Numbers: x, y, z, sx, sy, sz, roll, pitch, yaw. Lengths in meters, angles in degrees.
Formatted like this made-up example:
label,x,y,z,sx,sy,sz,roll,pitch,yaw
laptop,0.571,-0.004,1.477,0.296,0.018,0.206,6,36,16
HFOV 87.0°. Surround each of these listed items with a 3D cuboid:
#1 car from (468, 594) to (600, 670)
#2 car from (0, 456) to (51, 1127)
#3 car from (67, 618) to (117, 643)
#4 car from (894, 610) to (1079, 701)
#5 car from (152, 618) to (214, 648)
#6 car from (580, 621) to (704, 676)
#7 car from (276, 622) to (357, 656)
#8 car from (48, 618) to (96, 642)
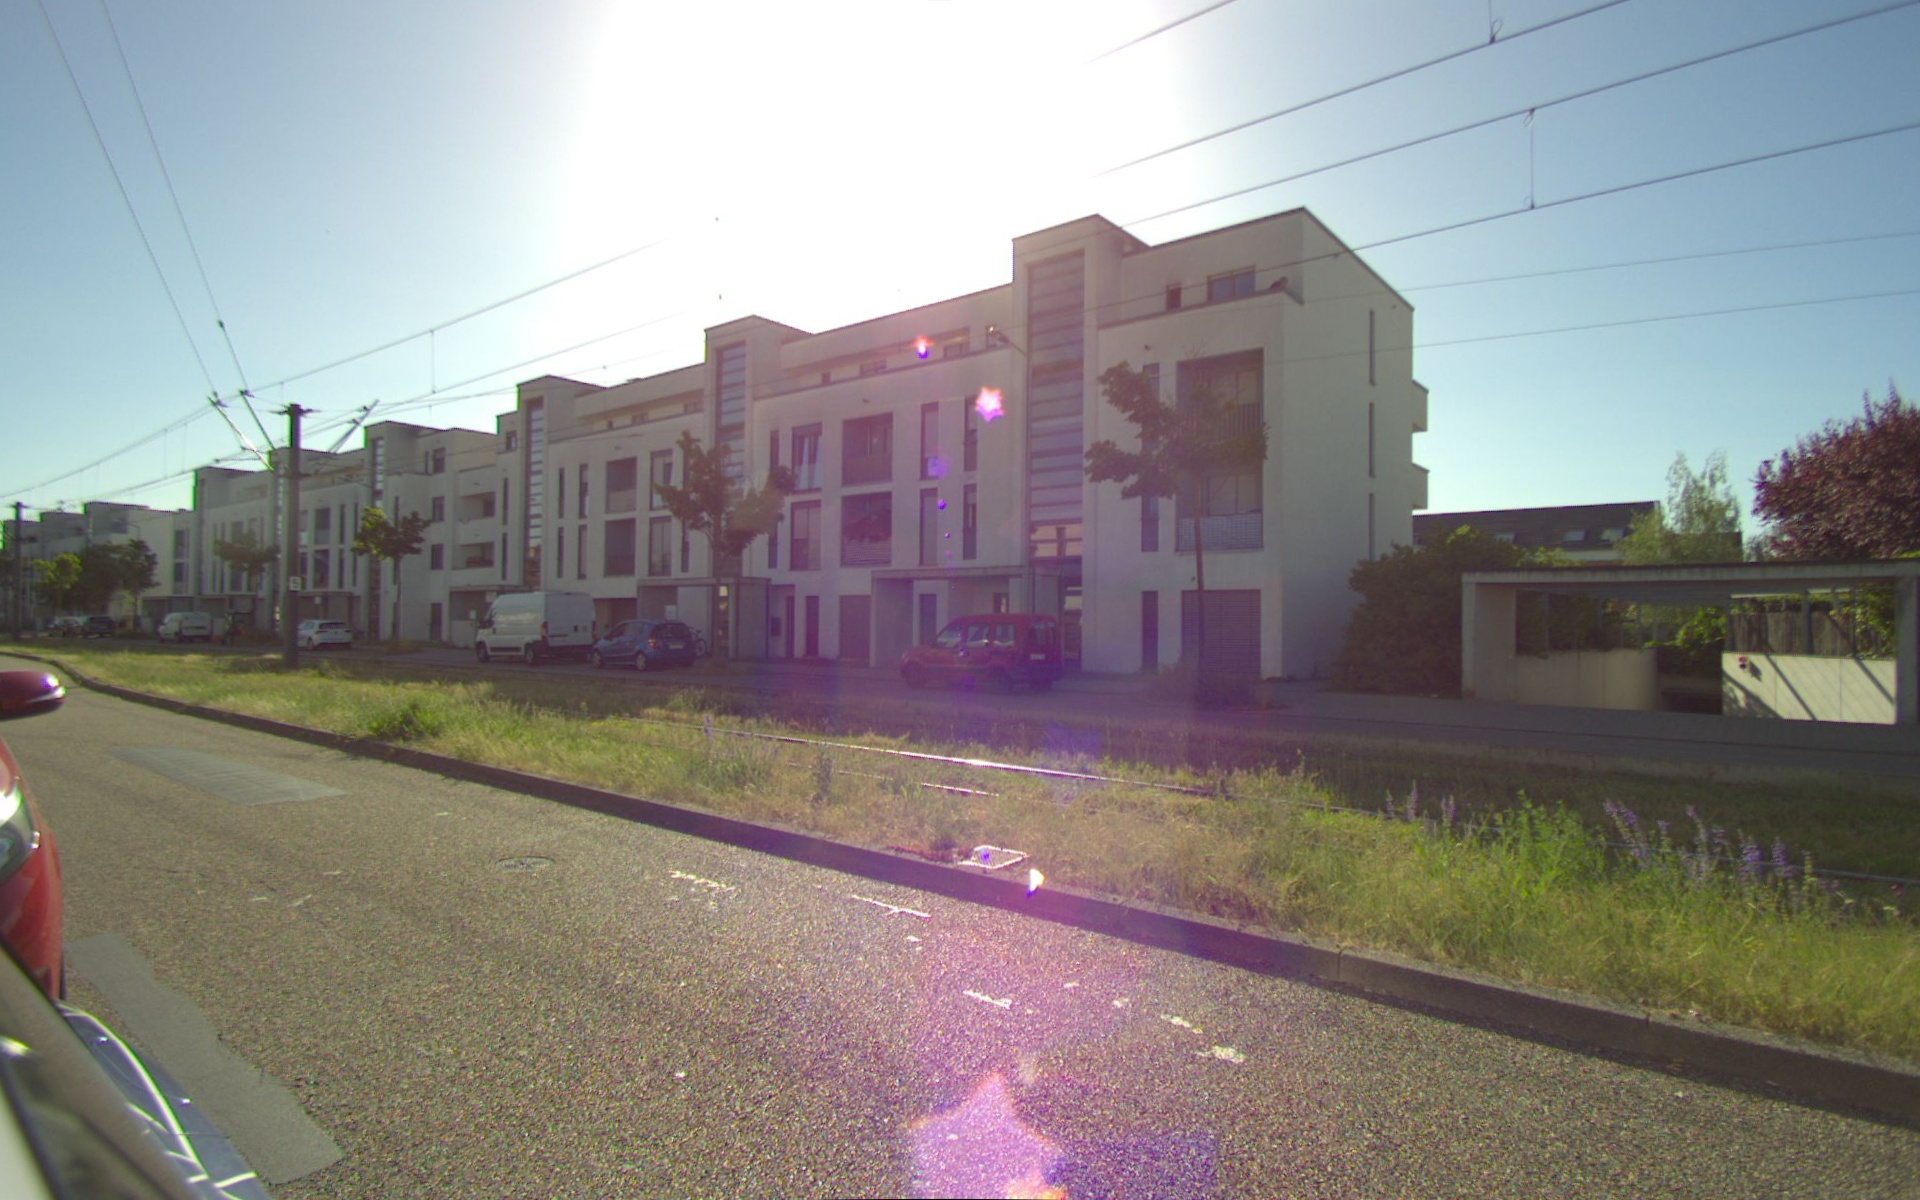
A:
label,x,y,z,sx,sy,sz,roll,pitch,yaw
car,-15.185,1.084,35.938,5.193,2.491,2.197,-1,0,40
car,-4.904,0.561,3.684,4.505,1.868,1.850,-1,0,41
car,-62.968,2.174,73.399,4.277,1.693,1.900,-1,0,37
car,0.548,1.178,23.013,3.895,1.842,1.972,-1,0,43
car,-47.346,1.971,61.618,4.277,1.693,1.900,-1,0,37
car,-9.990,1.457,31.734,3.833,1.556,1.973,-1,0,40
car,-31.126,1.848,48.893,4.277,1.517,1.900,-1,0,37
car,-67.512,2.264,76.923,4.277,1.693,1.900,-1,0,37
